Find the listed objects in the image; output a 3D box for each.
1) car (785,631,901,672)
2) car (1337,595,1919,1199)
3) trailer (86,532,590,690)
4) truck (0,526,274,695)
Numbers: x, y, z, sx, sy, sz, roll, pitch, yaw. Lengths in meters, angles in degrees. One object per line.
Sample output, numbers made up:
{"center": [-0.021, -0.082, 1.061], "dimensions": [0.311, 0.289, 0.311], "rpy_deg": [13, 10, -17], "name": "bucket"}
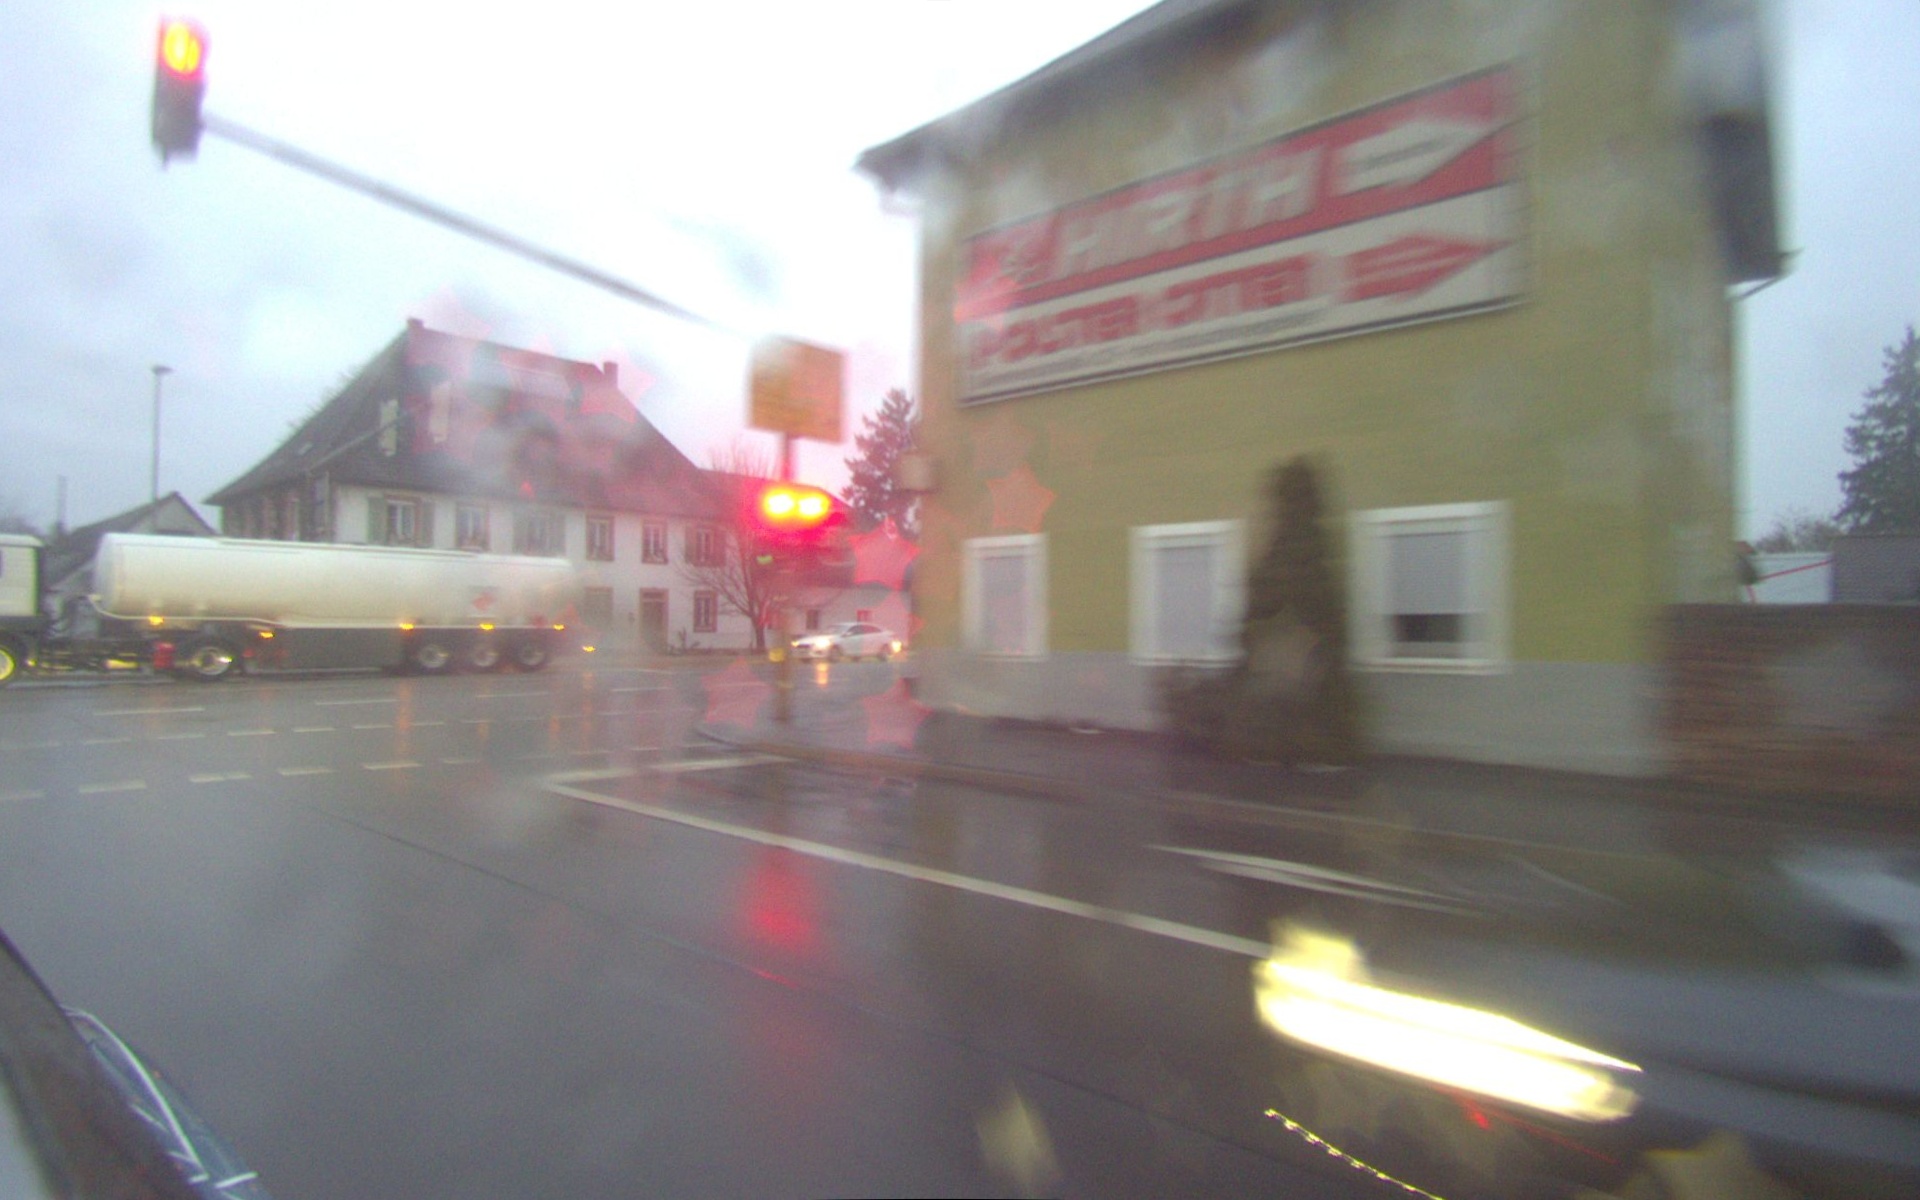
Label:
{"center": [-4.267, 1.882, 37.569], "dimensions": [1.666, 1.450, 4.322], "rpy_deg": [-3, -3, 40], "name": "car"}
{"center": [2.966, 0.693, 0.982], "dimensions": [4.521, 1.405, 1.860], "rpy_deg": [-2, -3, 41], "name": "car"}
{"center": [-15.025, 0.387, 25.810], "dimensions": [2.494, 3.265, 10.723], "rpy_deg": [-2, -3, 40], "name": "trailer"}
{"center": [-18.578, 0.269, 21.503], "dimensions": [2.468, 3.254, 6.189], "rpy_deg": [-2, -3, 40], "name": "truck"}
